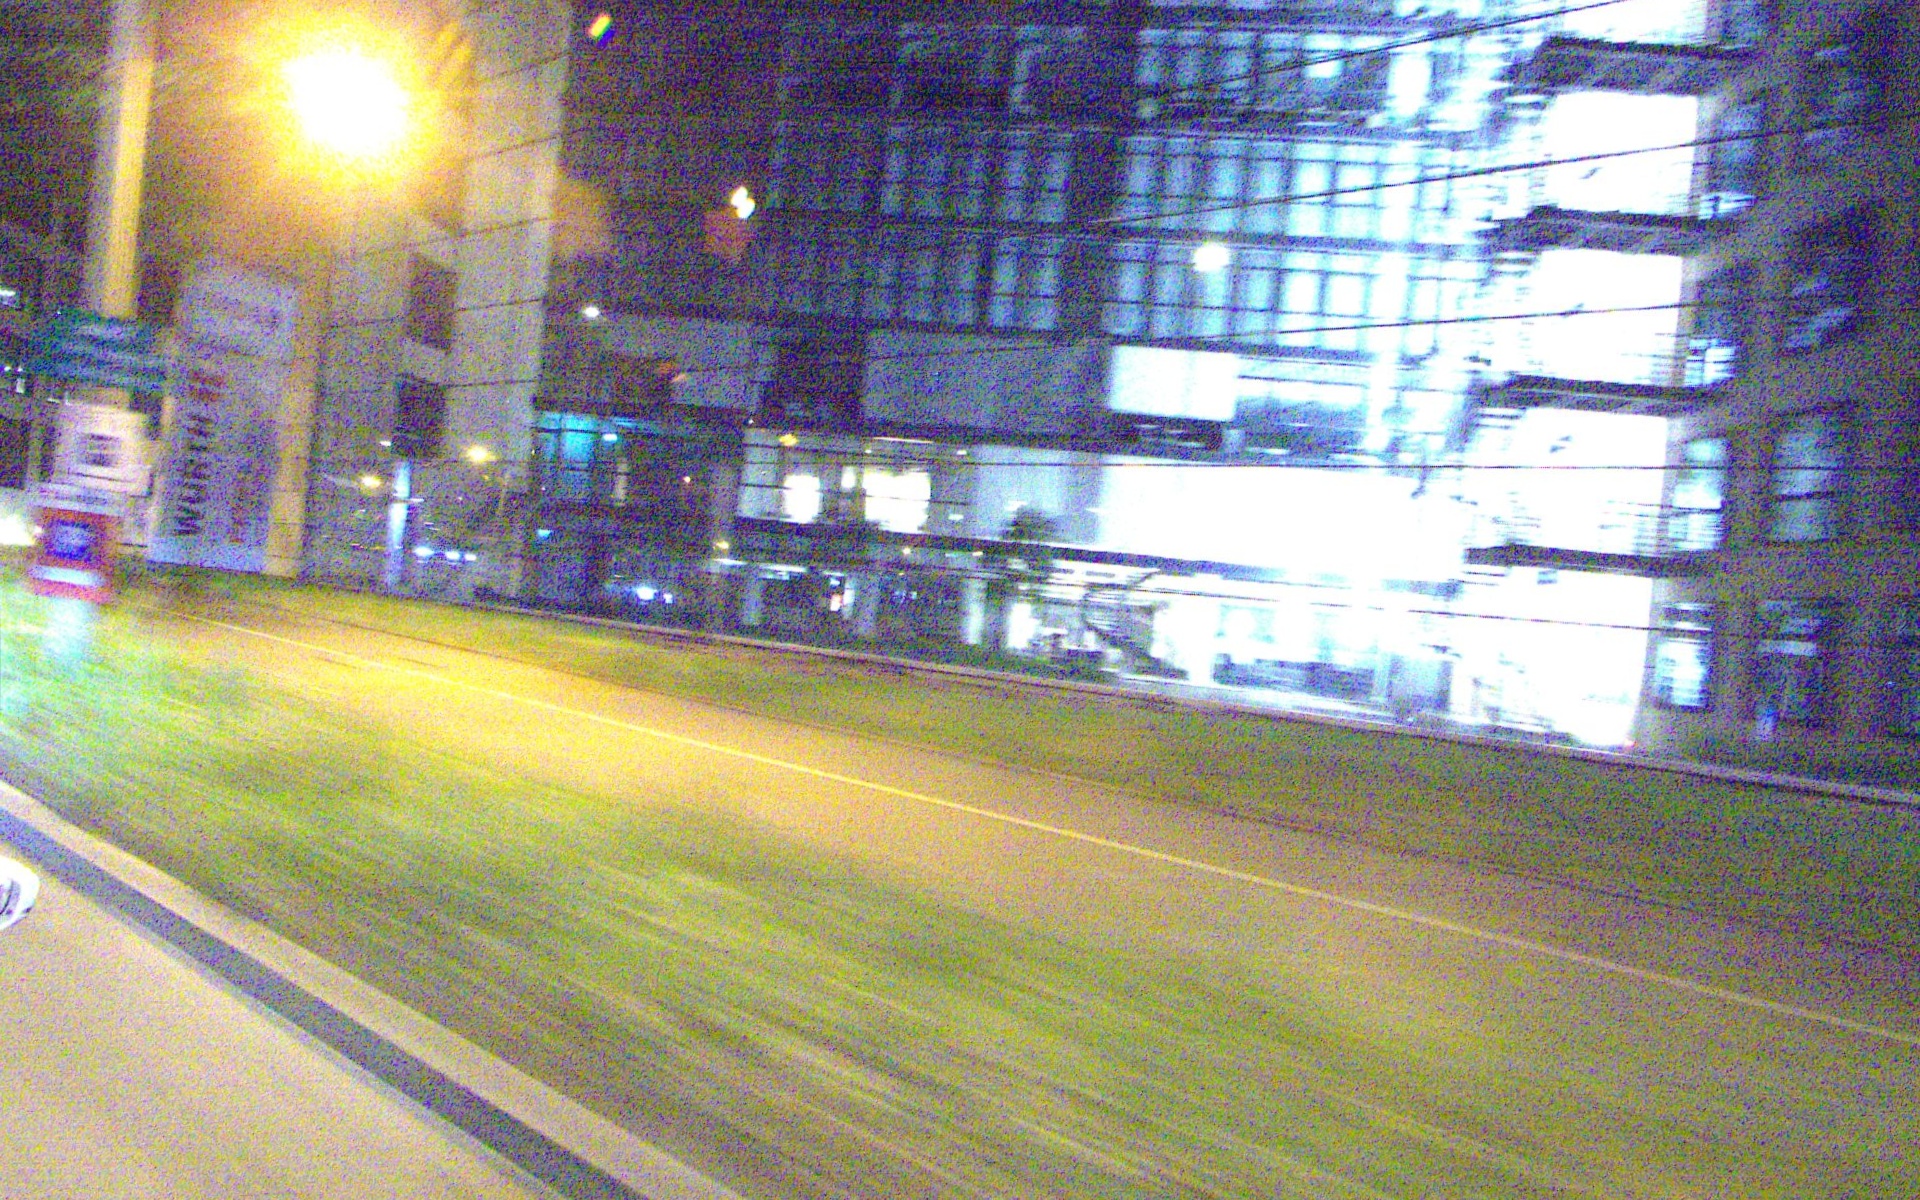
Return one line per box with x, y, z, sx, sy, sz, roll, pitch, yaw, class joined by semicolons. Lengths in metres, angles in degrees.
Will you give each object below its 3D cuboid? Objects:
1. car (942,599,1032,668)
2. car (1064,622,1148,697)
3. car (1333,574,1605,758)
0.611;0.679;20.351;1.297;1.107;3.439;8;-1;8;car
2.700;1.053;18.657;1.276;1.098;3.174;8;-1;8;car
6.606;0.817;13.588;1.962;1.885;3.779;8;0;8;car
